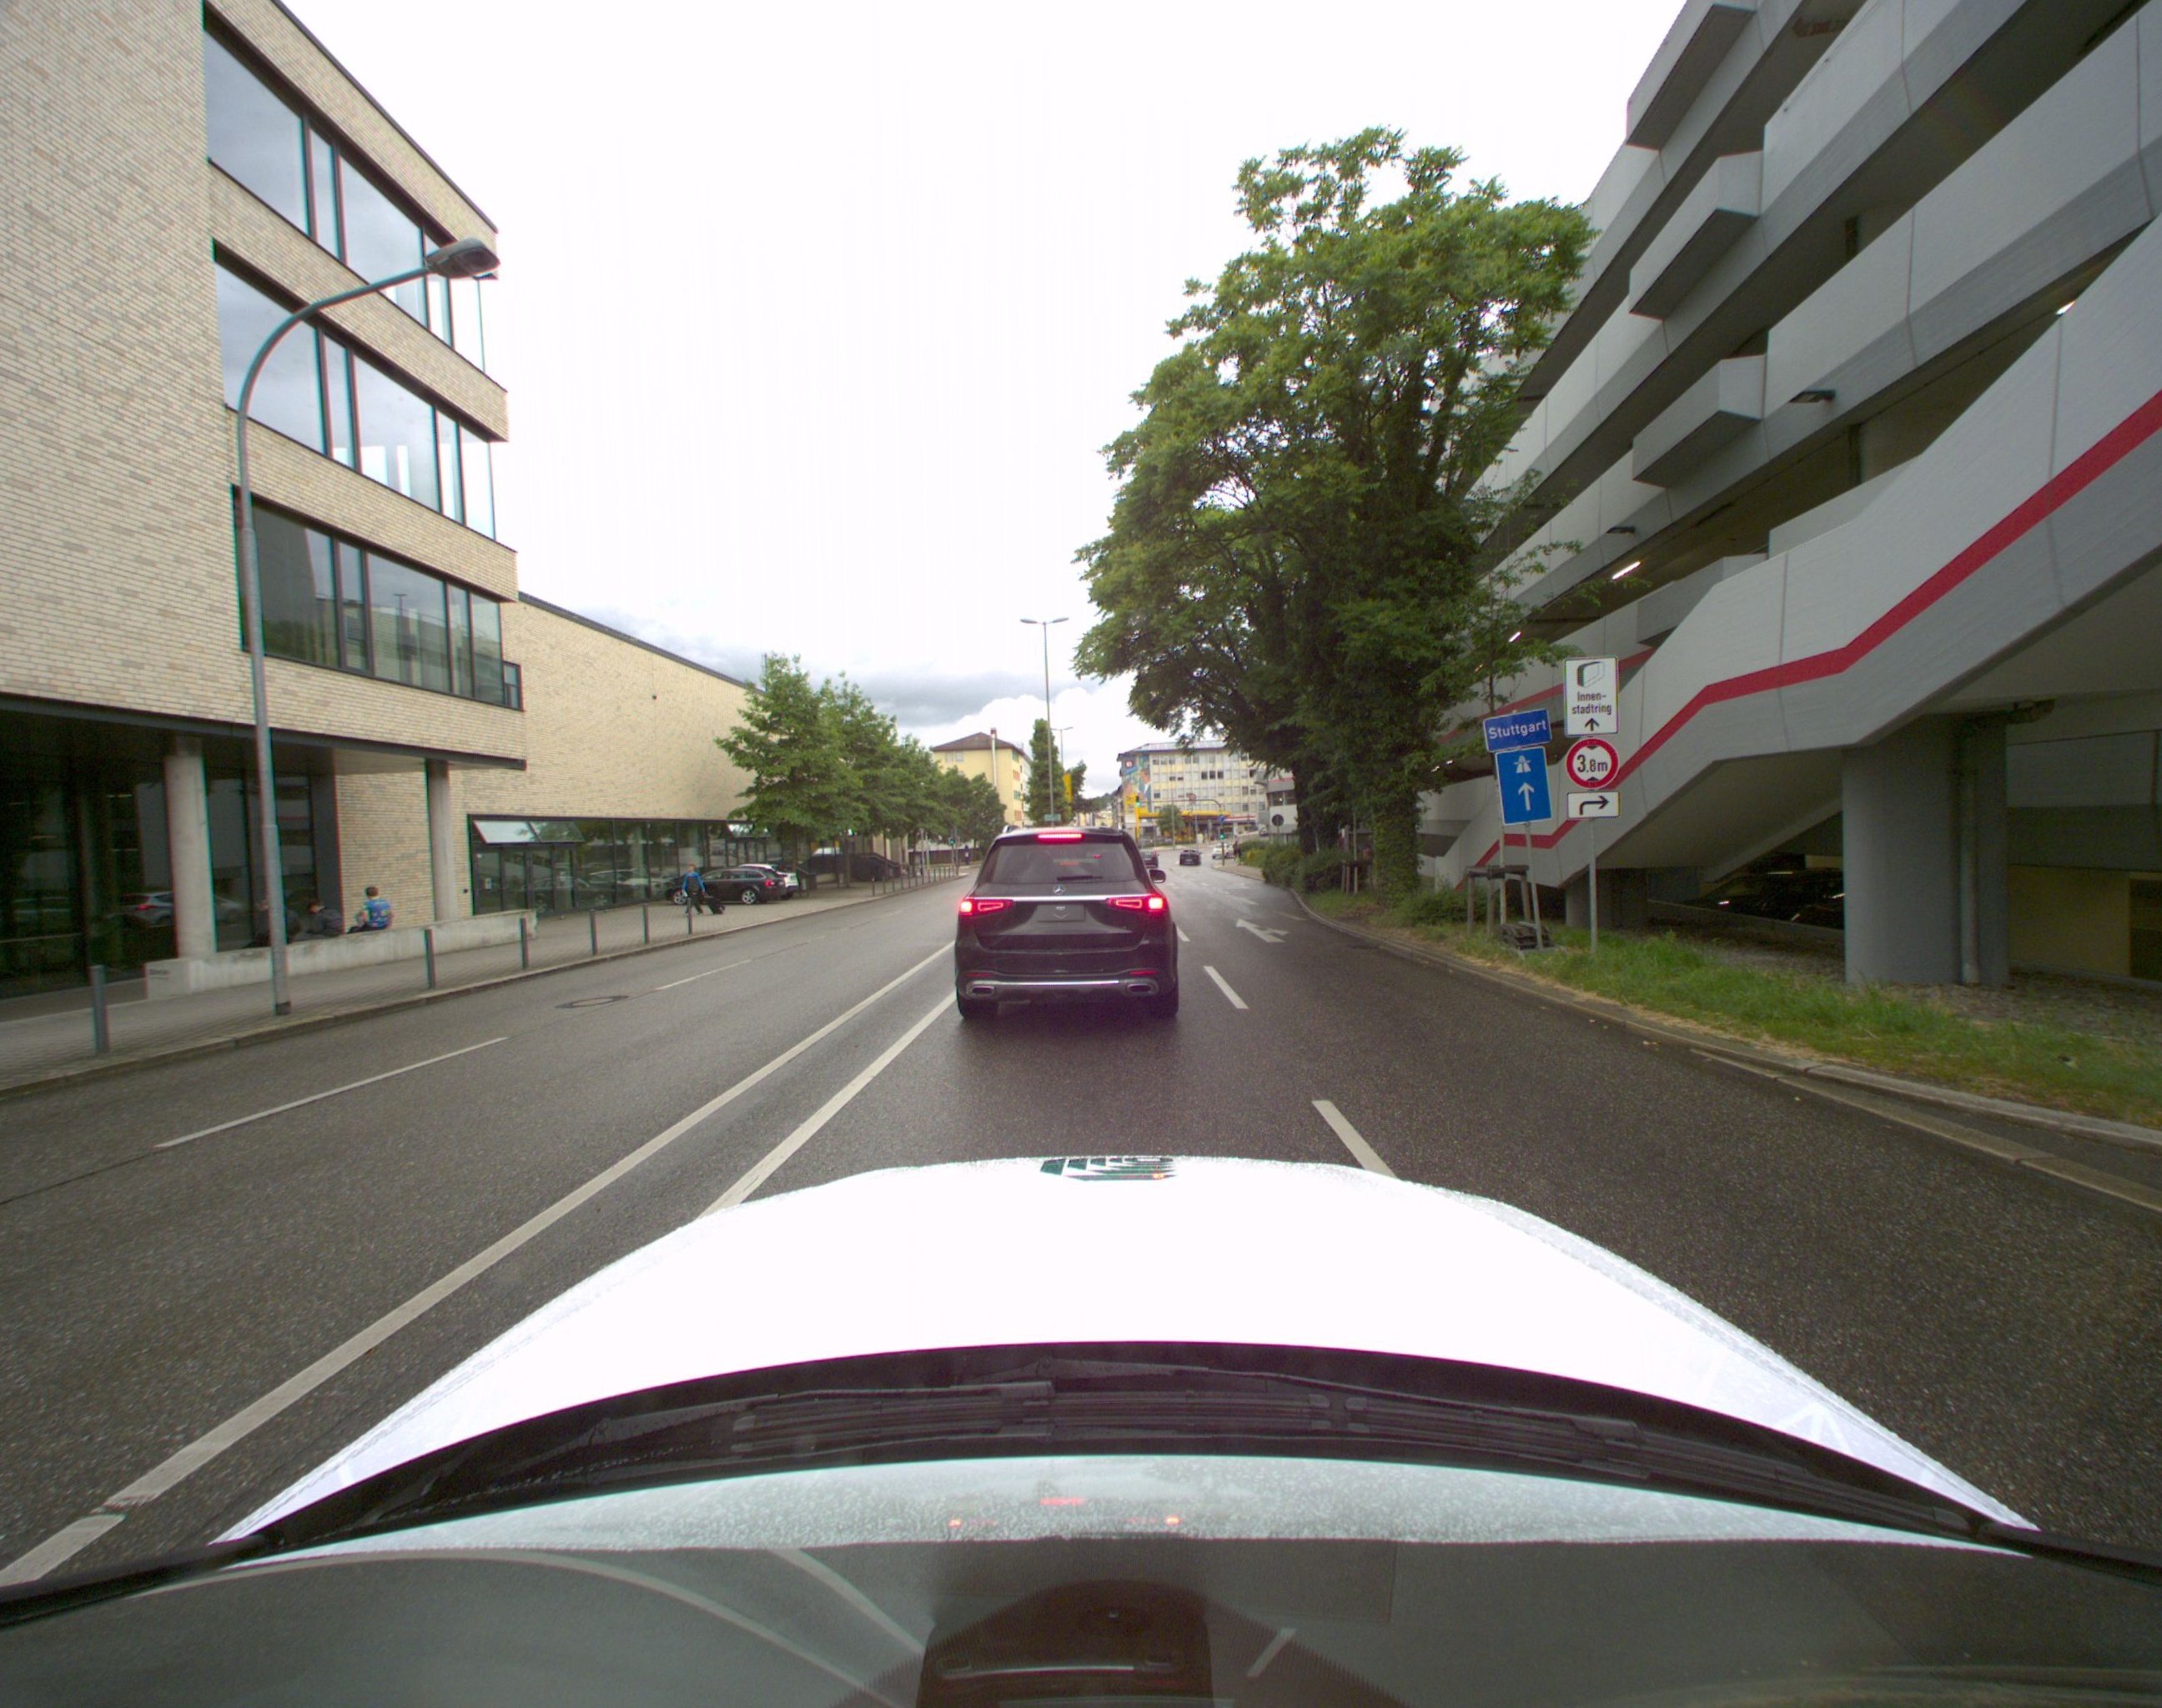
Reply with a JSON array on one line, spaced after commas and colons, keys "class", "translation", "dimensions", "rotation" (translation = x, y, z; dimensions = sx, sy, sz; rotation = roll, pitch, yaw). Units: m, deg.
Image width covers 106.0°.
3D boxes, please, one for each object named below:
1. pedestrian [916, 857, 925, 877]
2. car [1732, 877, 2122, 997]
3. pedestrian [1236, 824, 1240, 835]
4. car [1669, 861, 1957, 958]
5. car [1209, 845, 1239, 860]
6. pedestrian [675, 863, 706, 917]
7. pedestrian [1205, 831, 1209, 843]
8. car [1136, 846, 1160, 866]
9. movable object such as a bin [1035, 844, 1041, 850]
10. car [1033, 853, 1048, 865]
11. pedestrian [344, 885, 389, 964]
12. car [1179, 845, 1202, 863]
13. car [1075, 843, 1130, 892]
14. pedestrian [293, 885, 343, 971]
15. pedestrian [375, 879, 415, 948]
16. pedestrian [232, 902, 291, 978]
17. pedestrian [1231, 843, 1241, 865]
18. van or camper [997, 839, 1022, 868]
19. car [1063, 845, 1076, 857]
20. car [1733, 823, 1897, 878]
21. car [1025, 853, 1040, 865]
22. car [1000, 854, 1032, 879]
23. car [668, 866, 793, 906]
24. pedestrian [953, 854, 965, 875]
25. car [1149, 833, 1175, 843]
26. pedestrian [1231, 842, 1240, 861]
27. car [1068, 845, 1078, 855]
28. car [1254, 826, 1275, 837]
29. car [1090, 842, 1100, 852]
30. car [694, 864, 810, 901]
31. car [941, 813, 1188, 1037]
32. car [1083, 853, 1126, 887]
[{"class": "pedestrian", "translation": [-13.985, 1.129, 70.956], "dimensions": [0.641, 1.665, 1.017], "rotation": [0, -1, -4]}, {"class": "car", "translation": [12.937, 1.243, 12.715], "dimensions": [3.966, 1.624, 1.842], "rotation": [-1, 0, 6]}, {"class": "pedestrian", "translation": [26.290, -4.082, 136.300], "dimensions": [0.521, 1.727, 0.693], "rotation": [-2, 1, 28]}, {"class": "car", "translation": [13.710, 1.014, 15.474], "dimensions": [3.713, 1.540, 1.815], "rotation": [-1, 3, 7]}, {"class": "car", "translation": [14.793, -0.149, 83.904], "dimensions": [1.737, 1.549, 4.025], "rotation": [-1, -1, 30]}, {"class": "pedestrian", "translation": [-12.635, 1.151, 26.346], "dimensions": [0.632, 1.714, 0.705], "rotation": [0, -1, 4]}, {"class": "pedestrian", "translation": [18.596, -2.487, 120.155], "dimensions": [0.570, 1.697, 0.631], "rotation": [0, -1, 3]}, {"class": "car", "translation": [5.496, 0.163, 66.912], "dimensions": [1.789, 1.525, 4.058], "rotation": [0, 1, 2]}, {"class": "movable object such as a bin", "translation": [-7.485, -1.205, 141.459], "dimensions": [0.906, 1.038, 0.844], "rotation": [0, -1, 2]}, {"class": "car", "translation": [-5.781, 0.747, 116.256], "dimensions": [1.900, 1.703, 3.998], "rotation": [0, -1, -1]}, {"class": "pedestrian", "translation": [-13.692, 1.342, 15.620], "dimensions": [0.448, 1.475, 0.463], "rotation": [0, -1, -4]}, {"class": "car", "translation": [9.712, 0.016, 72.057], "dimensions": [1.935, 1.486, 4.009], "rotation": [0, -1, 8]}, {"class": "car", "translation": [0.861, 0.502, 31.946], "dimensions": [1.986, 1.800, 4.001], "rotation": [0, -1, 2]}, {"class": "pedestrian", "translation": [-13.533, 1.304, 14.455], "dimensions": [0.448, 1.475, 0.463], "rotation": [0, -1, -4]}, {"class": "pedestrian", "translation": [-15.005, 1.295, 17.818], "dimensions": [0.440, 1.475, 0.528], "rotation": [0, -1, -3]}, {"class": "pedestrian", "translation": [-13.559, 1.406, 13.476], "dimensions": [0.546, 1.215, 0.422], "rotation": [0, -1, 4]}, {"class": "pedestrian", "translation": [12.431, -0.002, 65.343], "dimensions": [0.639, 1.710, 0.474], "rotation": [-2, -1, 38]}, {"class": "van or camper", "translation": [-6.989, -0.050, 80.159], "dimensions": [2.098, 2.582, 5.899], "rotation": [-4, 0, -4]}, {"class": "car", "translation": [-1.780, -0.446, 126.978], "dimensions": [1.900, 1.703, 3.998], "rotation": [0, -1, -1]}, {"class": "car", "translation": [26.210, -0.108, 29.234], "dimensions": [3.958, 1.783, 1.823], "rotation": [-2, 0, 14]}, {"class": "car", "translation": [-6.205, 0.690, 104.776], "dimensions": [1.792, 1.495, 3.802], "rotation": [0, -1, -1]}, {"class": "car", "translation": [-4.363, 0.820, 54.959], "dimensions": [1.735, 1.470, 3.882], "rotation": [-4, 0, 0]}, {"class": "car", "translation": [-14.038, 1.254, 32.808], "dimensions": [4.169, 1.495, 1.997], "rotation": [0, -1, -5]}, {"class": "pedestrian", "translation": [-10.218, 0.882, 68.138], "dimensions": [0.948, 1.704, 0.709], "rotation": [0, -1, -16]}, {"class": "car", "translation": [12.773, -2.504, 128.484], "dimensions": [1.747, 1.376, 3.952], "rotation": [-4, 1, -42]}, {"class": "pedestrian", "translation": [14.195, -0.214, 74.872], "dimensions": [0.716, 1.690, 0.455], "rotation": [0, -1, -5]}, {"class": "car", "translation": [-1.427, -0.755, 149.160], "dimensions": [1.862, 1.839, 3.819], "rotation": [0, -1, 0]}, {"class": "car", "translation": [31.127, -3.793, 137.872], "dimensions": [1.974, 1.705, 4.026], "rotation": [-2, 1, 35]}, {"class": "car", "translation": [3.019, -1.455, 176.794], "dimensions": [1.985, 2.014, 4.003], "rotation": [0, -1, 3]}, {"class": "car", "translation": [-14.135, 1.206, 35.116], "dimensions": [4.158, 1.547, 2.002], "rotation": [0, -1, 3]}, {"class": "car", "translation": [-0.074, 0.587, 8.588], "dimensions": [1.986, 1.800, 4.001], "rotation": [0, -1, 2]}, {"class": "car", "translation": [1.101, 0.711, 37.978], "dimensions": [1.900, 1.501, 4.001], "rotation": [0, -1, 2]}]
